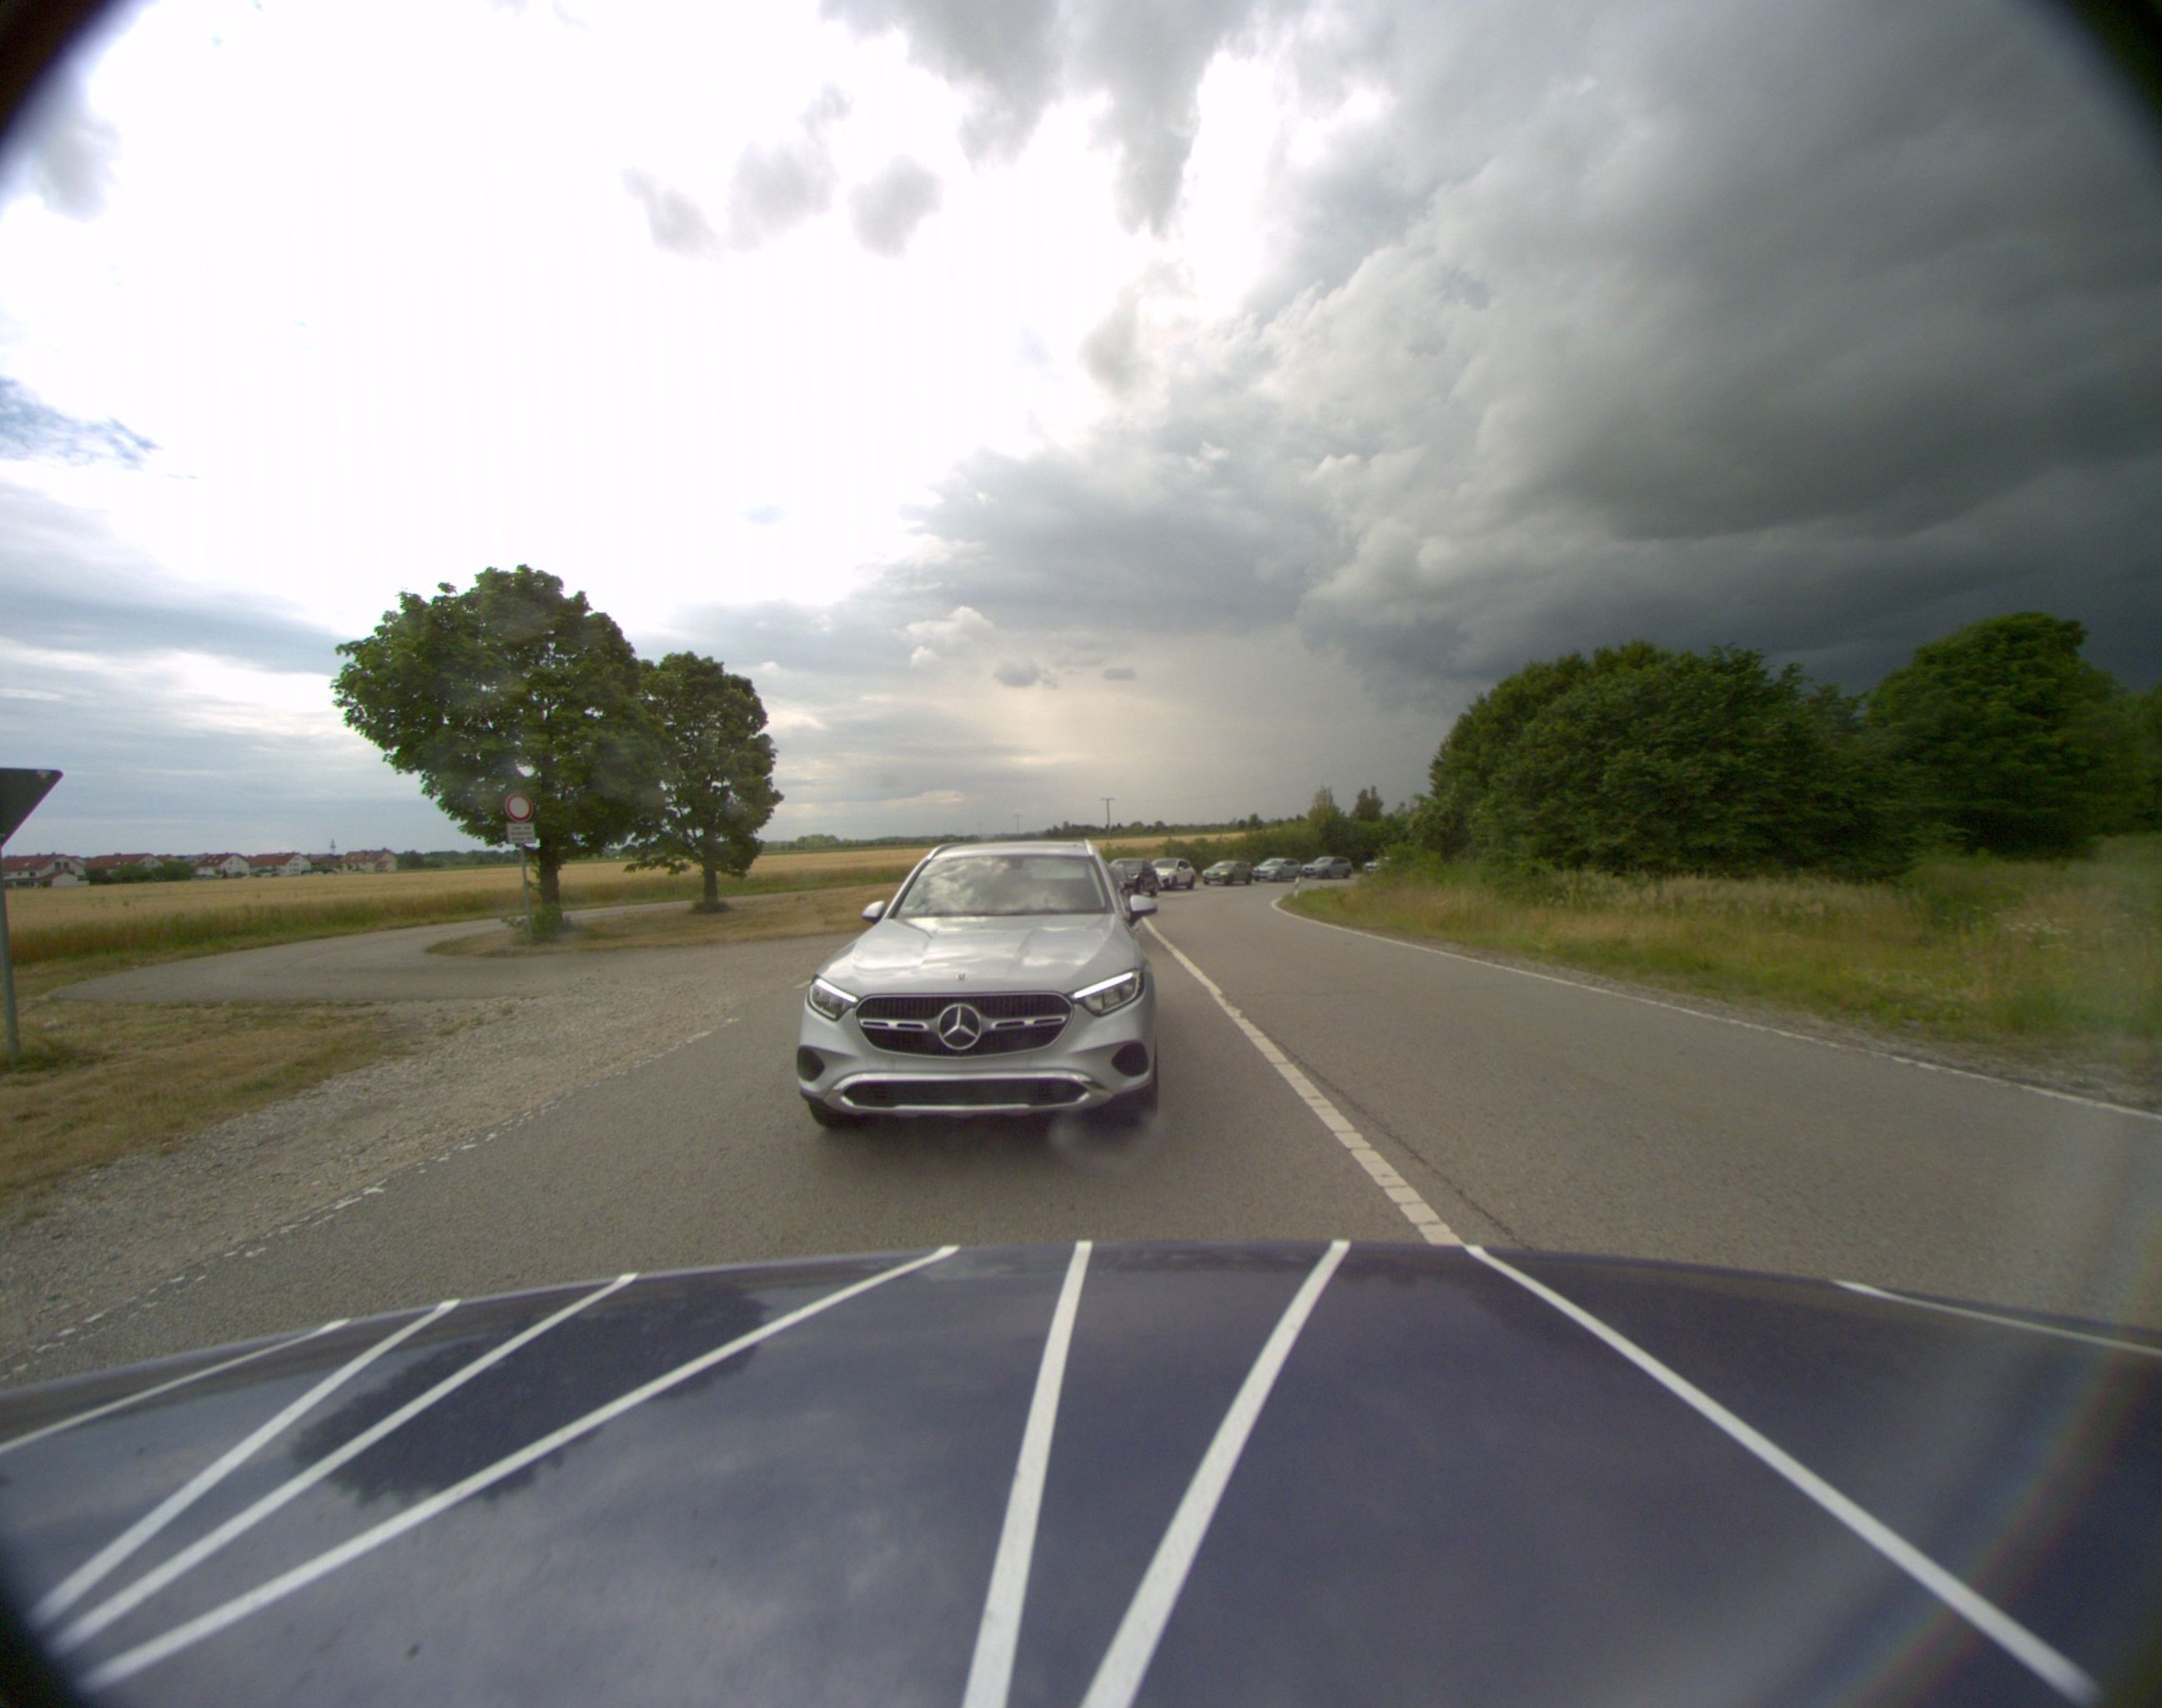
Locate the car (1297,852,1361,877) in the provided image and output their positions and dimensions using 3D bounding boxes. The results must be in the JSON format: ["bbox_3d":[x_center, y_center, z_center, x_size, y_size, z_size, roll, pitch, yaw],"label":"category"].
[{"bbox_3d":[19.307,0.778,59.081,5.217,1.710,1.994,-3,3,-36],"label":"car"}]

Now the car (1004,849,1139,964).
[{"bbox_3d":[0.015,0.834,14.084,1.998,1.709,5.211,-1,-1,4],"label":"car"}]

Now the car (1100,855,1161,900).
[{"bbox_3d":[2.266,0.956,33.216,1.997,1.710,5.213,1,1,11],"label":"car"}]

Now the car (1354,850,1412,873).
[{"bbox_3d":[25.509,0.601,64.110,5.217,1.710,1.994,-3,3,-36],"label":"car"}]

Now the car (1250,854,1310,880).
[{"bbox_3d":[14.265,0.908,54.242,1.994,1.710,5.220,2,1,41],"label":"car"}]

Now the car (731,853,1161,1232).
[{"bbox_3d":[-0.564,0.834,5.579,1.836,1.577,4.449,-2,1,1],"label":"car"}]

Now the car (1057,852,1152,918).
[{"bbox_3d":[0.849,0.872,22.831,1.997,1.709,5.214,1,-1,11],"label":"car"}]

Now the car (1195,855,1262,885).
[{"bbox_3d":[9.489,0.972,48.547,1.994,1.710,5.220,2,1,38],"label":"car"}]

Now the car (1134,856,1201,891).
[{"bbox_3d":[4.803,0.979,41.400,1.995,1.710,5.218,1,1,26],"label":"car"}]
